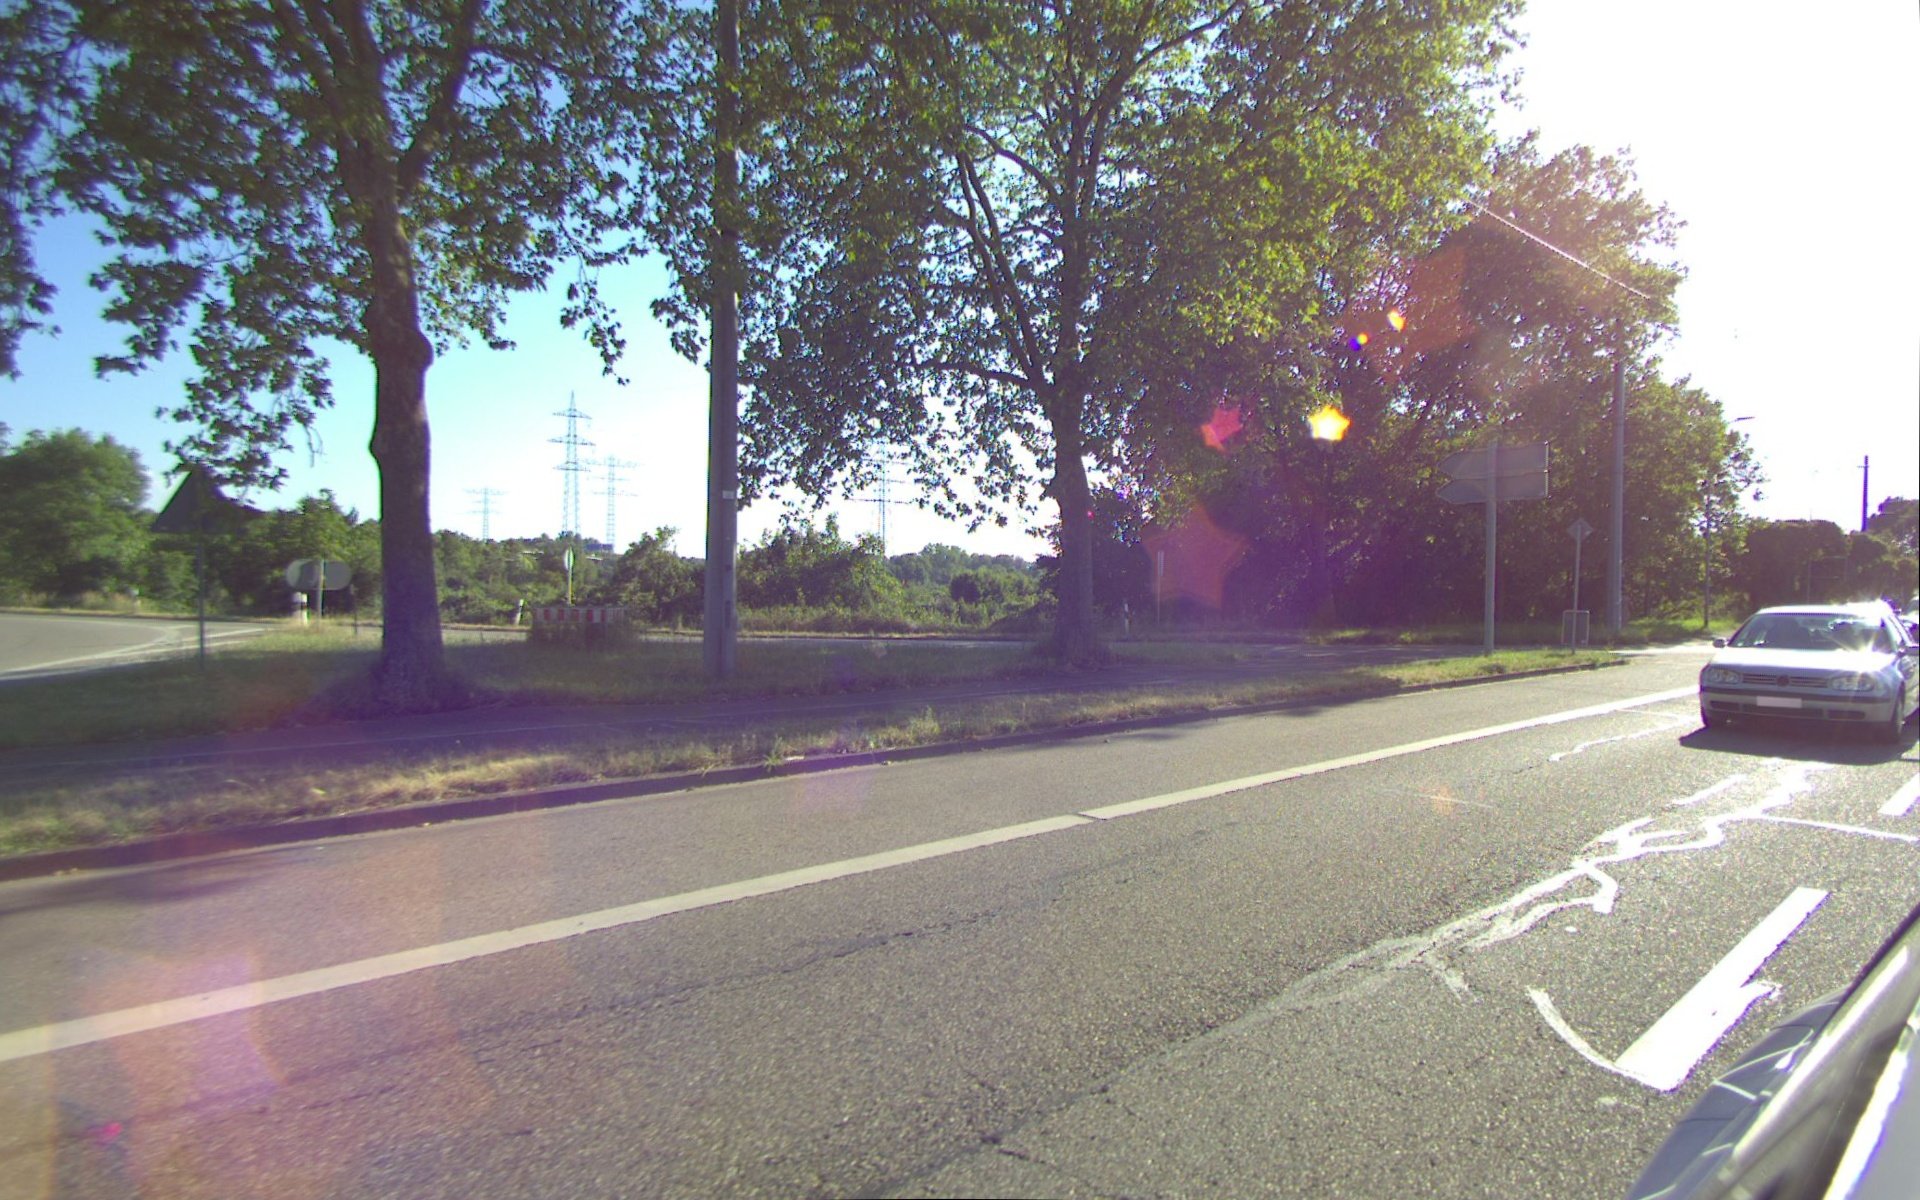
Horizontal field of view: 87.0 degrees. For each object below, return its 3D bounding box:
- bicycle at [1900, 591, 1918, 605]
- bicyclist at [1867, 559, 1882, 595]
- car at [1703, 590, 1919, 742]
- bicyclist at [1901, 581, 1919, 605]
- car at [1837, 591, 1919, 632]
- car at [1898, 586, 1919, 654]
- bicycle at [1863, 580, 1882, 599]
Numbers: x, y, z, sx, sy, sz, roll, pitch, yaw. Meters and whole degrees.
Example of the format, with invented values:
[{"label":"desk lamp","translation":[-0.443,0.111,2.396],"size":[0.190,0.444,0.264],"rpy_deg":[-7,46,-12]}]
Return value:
[{"label":"bicycle","translation":[63.078,-0.141,67.265],"size":[1.605,0.844,0.629],"rpy_deg":[-1,5,-39]},{"label":"bicyclist","translation":[52.694,-1.337,58.295],"size":[0.716,2.042,0.528],"rpy_deg":[0,-1,-40]},{"label":"car","translation":[10.341,0.632,11.915],"size":[3.931,1.463,1.694],"rpy_deg":[-1,1,-40]},{"label":"bicyclist","translation":[63.207,-0.473,67.332],"size":[1.041,1.488,0.629],"rpy_deg":[0,5,-39]},{"label":"car","translation":[36.059,0.397,39.546],"size":[4.575,1.461,1.881],"rpy_deg":[-1,1,-39]},{"label":"car","translation":[25.325,0.475,25.544],"size":[4.338,1.620,1.881],"rpy_deg":[-1,1,-40]},{"label":"bicycle","translation":[52.489,-0.598,58.230],"size":[1.936,1.074,0.528],"rpy_deg":[1,-1,-40]}]
